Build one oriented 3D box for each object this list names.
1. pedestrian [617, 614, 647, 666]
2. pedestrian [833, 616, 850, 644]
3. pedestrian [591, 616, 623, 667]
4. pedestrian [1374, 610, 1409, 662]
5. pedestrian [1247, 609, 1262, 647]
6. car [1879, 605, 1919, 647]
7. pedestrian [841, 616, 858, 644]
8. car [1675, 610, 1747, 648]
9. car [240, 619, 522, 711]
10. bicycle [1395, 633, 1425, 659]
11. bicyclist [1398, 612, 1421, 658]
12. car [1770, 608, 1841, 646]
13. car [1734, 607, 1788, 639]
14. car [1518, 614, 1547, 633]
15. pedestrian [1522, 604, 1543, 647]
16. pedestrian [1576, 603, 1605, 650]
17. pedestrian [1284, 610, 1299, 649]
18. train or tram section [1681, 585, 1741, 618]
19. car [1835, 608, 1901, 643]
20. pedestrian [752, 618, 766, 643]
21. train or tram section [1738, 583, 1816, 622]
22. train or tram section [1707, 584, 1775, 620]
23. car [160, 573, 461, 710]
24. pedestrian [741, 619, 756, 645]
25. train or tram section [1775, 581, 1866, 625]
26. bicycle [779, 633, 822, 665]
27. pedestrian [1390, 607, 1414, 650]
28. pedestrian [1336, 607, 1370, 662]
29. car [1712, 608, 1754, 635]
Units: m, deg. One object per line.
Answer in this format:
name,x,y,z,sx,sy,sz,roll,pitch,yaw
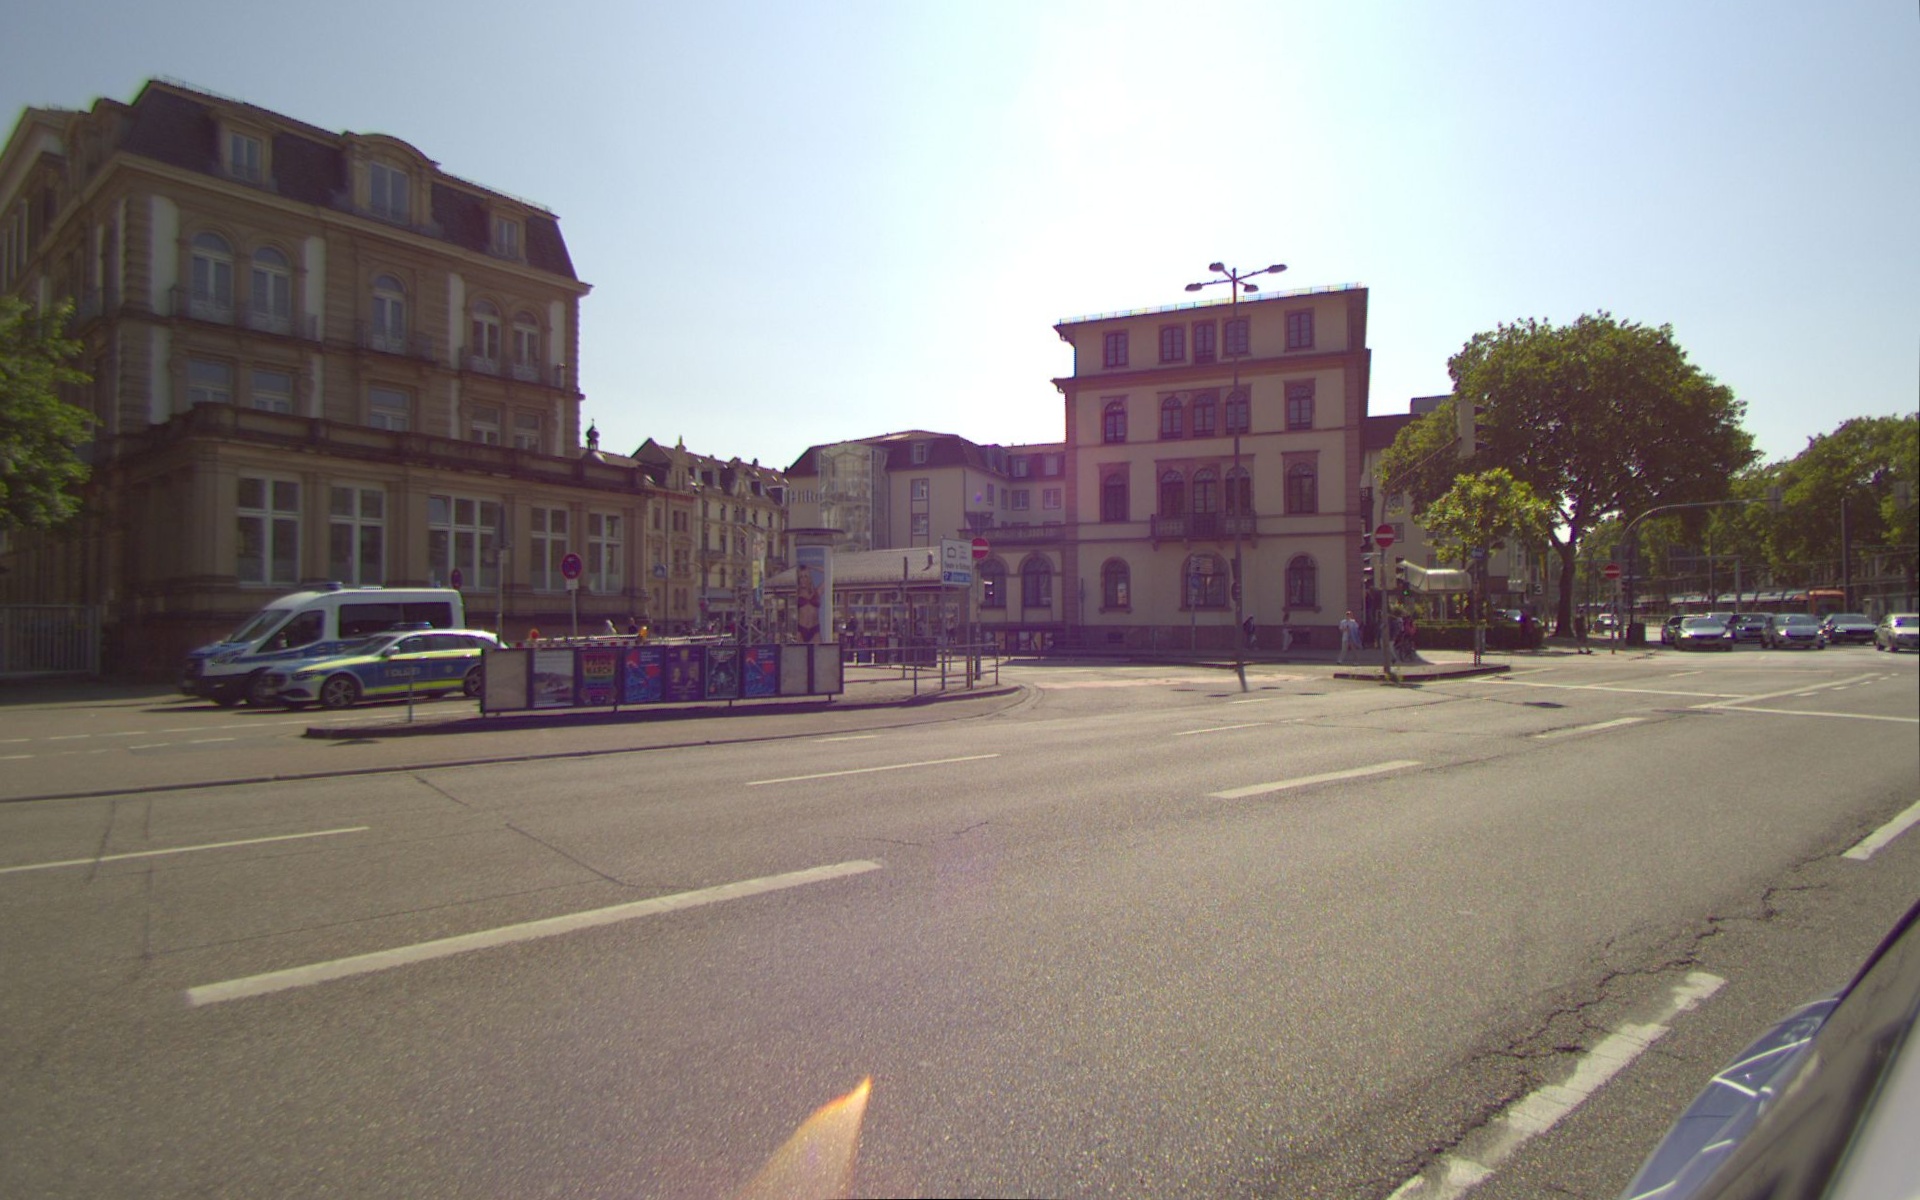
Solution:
pedestrian,-11.520,1.396,35.529,0.697,1.774,0.713,-2,-2,34
pedestrian,-6.776,1.705,57.838,0.707,1.624,0.722,1,-2,-45
pedestrian,-12.454,1.448,35.721,0.816,1.763,0.741,-2,-2,37
pedestrian,13.375,1.096,31.362,0.770,1.592,0.817,-2,-2,42
pedestrian,13.121,1.256,45.099,0.529,1.670,0.668,-1,-2,25
car,36.213,0.986,38.006,1.707,1.519,4.439,0,-1,32
pedestrian,-6.353,1.710,58.266,0.707,1.624,0.722,1,-2,-44
car,31.662,1.196,42.784,1.775,1.470,3.936,1,0,27
car,-11.748,1.239,20.920,1.807,1.647,4.826,-2,-1,31
bicycle,16.029,1.628,36.009,0.590,0.866,1.721,-2,-1,38
bicyclist,15.969,1.244,35.931,0.590,1.627,0.675,-2,-2,37
car,35.553,1.105,42.631,1.779,1.470,3.928,0,0,32
car,41.301,1.134,52.257,1.779,1.550,3.928,0,0,32
car,41.800,1.735,73.936,1.575,1.339,3.546,-1,-1,26
pedestrian,24.283,1.086,42.936,0.719,1.828,0.646,-1,-2,29
pedestrian,25.165,1.046,40.388,0.715,1.869,0.592,-1,-2,0
pedestrian,14.120,1.253,43.115,0.529,1.670,0.575,-1,-2,25
train or tram section,78.768,0.234,106.365,2.701,3.310,8.675,-1,-1,21
car,41.952,1.138,46.827,1.780,1.543,3.924,0,0,35
pedestrian,-13.141,2.012,66.116,0.706,1.624,0.724,1,-2,-37
train or tram section,72.596,0.271,90.131,2.701,3.310,8.675,-1,-1,21
train or tram section,75.670,0.252,98.253,2.701,3.310,8.675,-1,-1,21
car,-14.055,0.850,22.305,1.984,2.637,5.257,-2,-2,32
pedestrian,-13.595,2.058,65.047,0.705,1.624,0.724,1,-2,-36
train or tram section,69.546,0.289,82.043,2.701,3.310,8.675,-1,-1,21
bicycle,-5.831,1.780,36.889,1.812,1.113,0.497,0,-1,40
pedestrian,18.046,1.171,41.358,0.833,1.717,0.740,-1,-2,21
pedestrian,12.191,1.049,31.381,0.750,1.681,0.817,-2,-2,41
car,44.722,1.238,58.497,1.784,1.470,3.916,0,0,40
